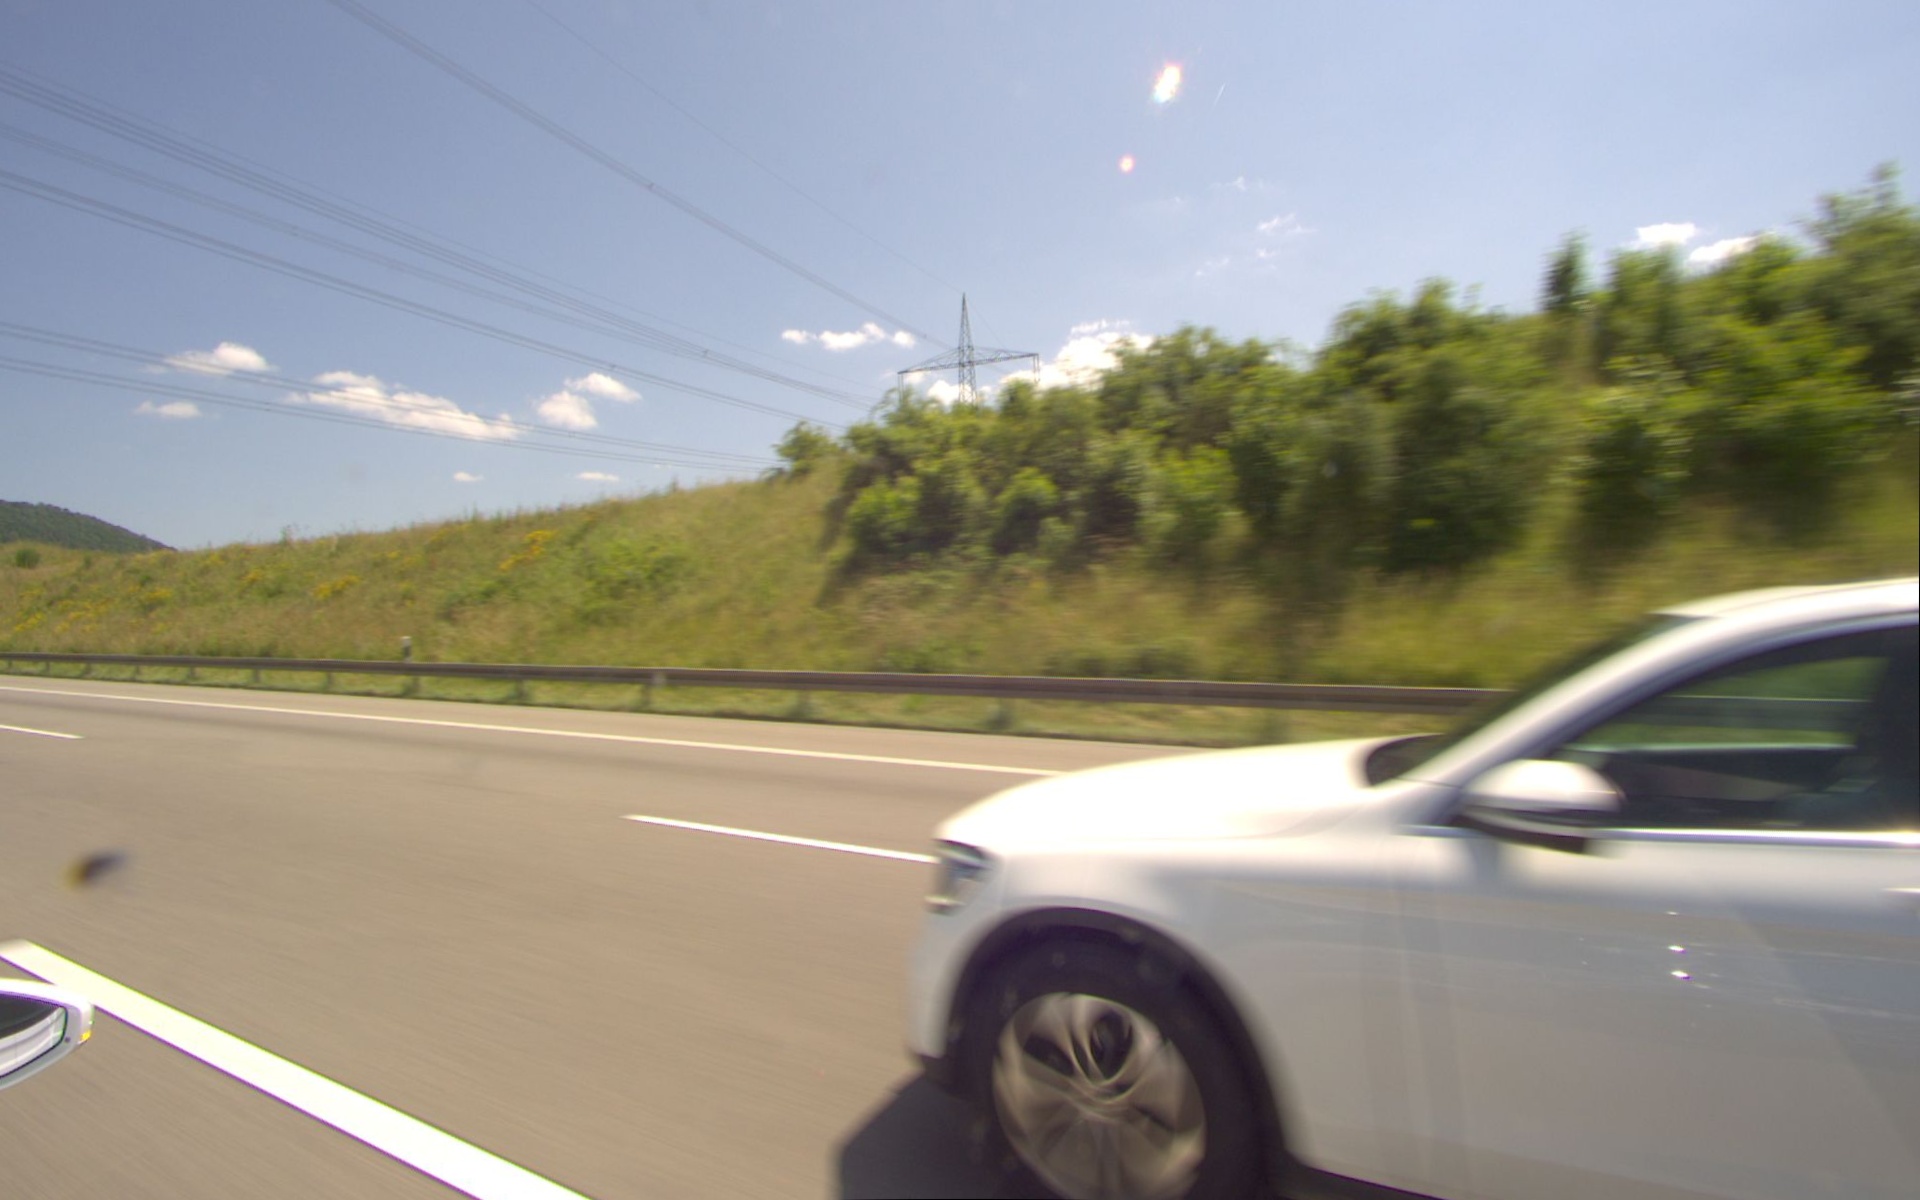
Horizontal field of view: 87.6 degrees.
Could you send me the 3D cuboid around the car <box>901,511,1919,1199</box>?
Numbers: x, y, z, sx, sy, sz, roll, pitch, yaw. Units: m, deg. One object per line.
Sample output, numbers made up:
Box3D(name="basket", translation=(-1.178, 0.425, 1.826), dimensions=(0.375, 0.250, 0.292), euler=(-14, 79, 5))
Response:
Box3D(name="car", translation=(2.526, 0.678, 2.010), dimensions=(5.156, 1.600, 1.911), euler=(-1, -2, 32))
